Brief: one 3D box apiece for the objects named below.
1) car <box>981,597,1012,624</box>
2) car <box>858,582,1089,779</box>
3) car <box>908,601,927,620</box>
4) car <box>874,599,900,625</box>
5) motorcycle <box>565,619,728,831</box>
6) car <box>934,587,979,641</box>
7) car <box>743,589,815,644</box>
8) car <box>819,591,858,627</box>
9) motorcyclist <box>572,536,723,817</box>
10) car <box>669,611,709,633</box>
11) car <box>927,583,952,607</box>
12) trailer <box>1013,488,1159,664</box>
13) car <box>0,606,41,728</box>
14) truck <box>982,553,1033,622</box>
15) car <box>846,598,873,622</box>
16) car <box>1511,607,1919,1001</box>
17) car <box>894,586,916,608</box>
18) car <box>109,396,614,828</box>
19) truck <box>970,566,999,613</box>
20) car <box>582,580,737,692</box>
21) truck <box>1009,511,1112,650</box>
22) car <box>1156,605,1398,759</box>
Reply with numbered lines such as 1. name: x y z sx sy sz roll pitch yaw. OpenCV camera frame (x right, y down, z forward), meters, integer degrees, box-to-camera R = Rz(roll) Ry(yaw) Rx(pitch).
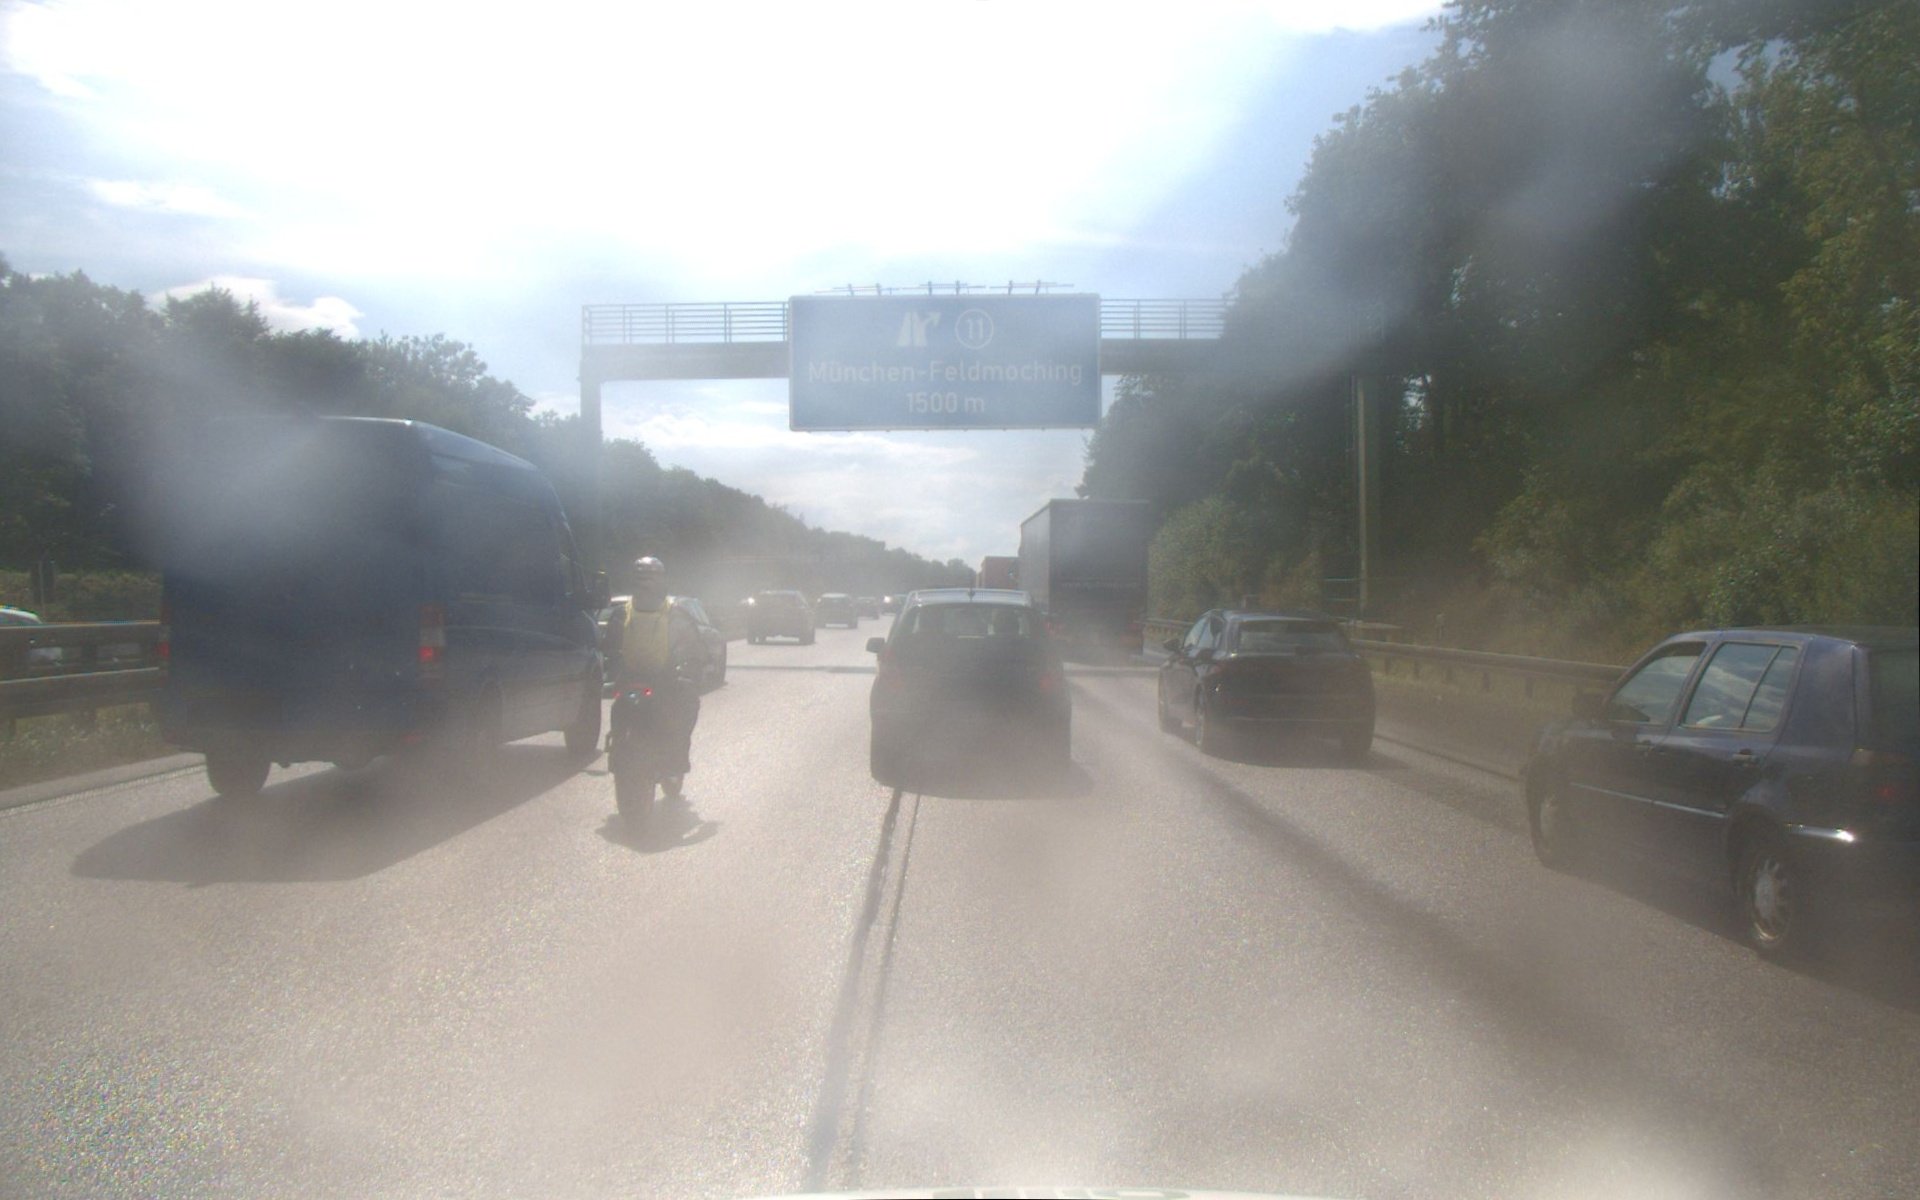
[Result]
1. car: 2.105 0.614 95.599 1.641 1.516 3.436 1 0 -1
2. car: 0.093 0.660 15.686 1.876 1.592 4.313 1 0 -1
3. car: -4.683 1.187 182.785 1.953 2.049 3.999 1 0 -1
4. car: -5.990 1.009 136.441 1.953 2.049 3.999 1 0 -1
5. motorcycle: -2.106 0.793 11.397 0.803 1.285 2.116 1 0 -3
6. car: -0.138 0.523 63.297 1.641 1.970 3.773 1 0 -1
7. car: -5.706 0.490 52.545 1.854 1.656 4.194 1 0 -1
8. car: -5.761 0.417 78.749 1.641 1.625 3.436 1 0 -1
9. motorcyclist: -2.102 0.492 11.301 0.805 1.791 1.389 1 -1 -3
10. car: -17.321 1.392 105.887 1.765 1.360 4.410 1 0 0
11. car: -1.340 -0.330 107.162 1.598 1.516 3.436 1 0 -1
12. trailer: 3.381 -0.607 48.546 3.025 4.388 14.102 1 0 -1
13. car: -13.651 0.891 21.400 1.502 1.635 3.780 1 0 -2
14. truck: 3.131 -0.802 111.669 3.136 4.481 9.432 1 0 0
15. car: -6.703 0.664 110.851 1.641 1.516 3.436 1 0 -1
16. car: 4.206 0.789 8.192 1.617 1.481 3.743 0 0 -2
17. car: -5.285 -0.279 159.158 1.953 2.049 3.999 1 0 -1
18. car: -4.358 0.077 13.271 1.974 2.695 5.776 1 0 -1
19. truck: 2.584 -1.059 176.567 2.823 4.769 12.657 1 0 0
20. car: -4.722 0.531 26.567 1.722 1.622 4.330 1 0 -1
21. truck: 3.315 -0.613 55.913 2.990 4.400 5.885 1 0 -1
22. car: 3.259 0.784 17.820 1.719 1.421 4.367 1 0 -1
